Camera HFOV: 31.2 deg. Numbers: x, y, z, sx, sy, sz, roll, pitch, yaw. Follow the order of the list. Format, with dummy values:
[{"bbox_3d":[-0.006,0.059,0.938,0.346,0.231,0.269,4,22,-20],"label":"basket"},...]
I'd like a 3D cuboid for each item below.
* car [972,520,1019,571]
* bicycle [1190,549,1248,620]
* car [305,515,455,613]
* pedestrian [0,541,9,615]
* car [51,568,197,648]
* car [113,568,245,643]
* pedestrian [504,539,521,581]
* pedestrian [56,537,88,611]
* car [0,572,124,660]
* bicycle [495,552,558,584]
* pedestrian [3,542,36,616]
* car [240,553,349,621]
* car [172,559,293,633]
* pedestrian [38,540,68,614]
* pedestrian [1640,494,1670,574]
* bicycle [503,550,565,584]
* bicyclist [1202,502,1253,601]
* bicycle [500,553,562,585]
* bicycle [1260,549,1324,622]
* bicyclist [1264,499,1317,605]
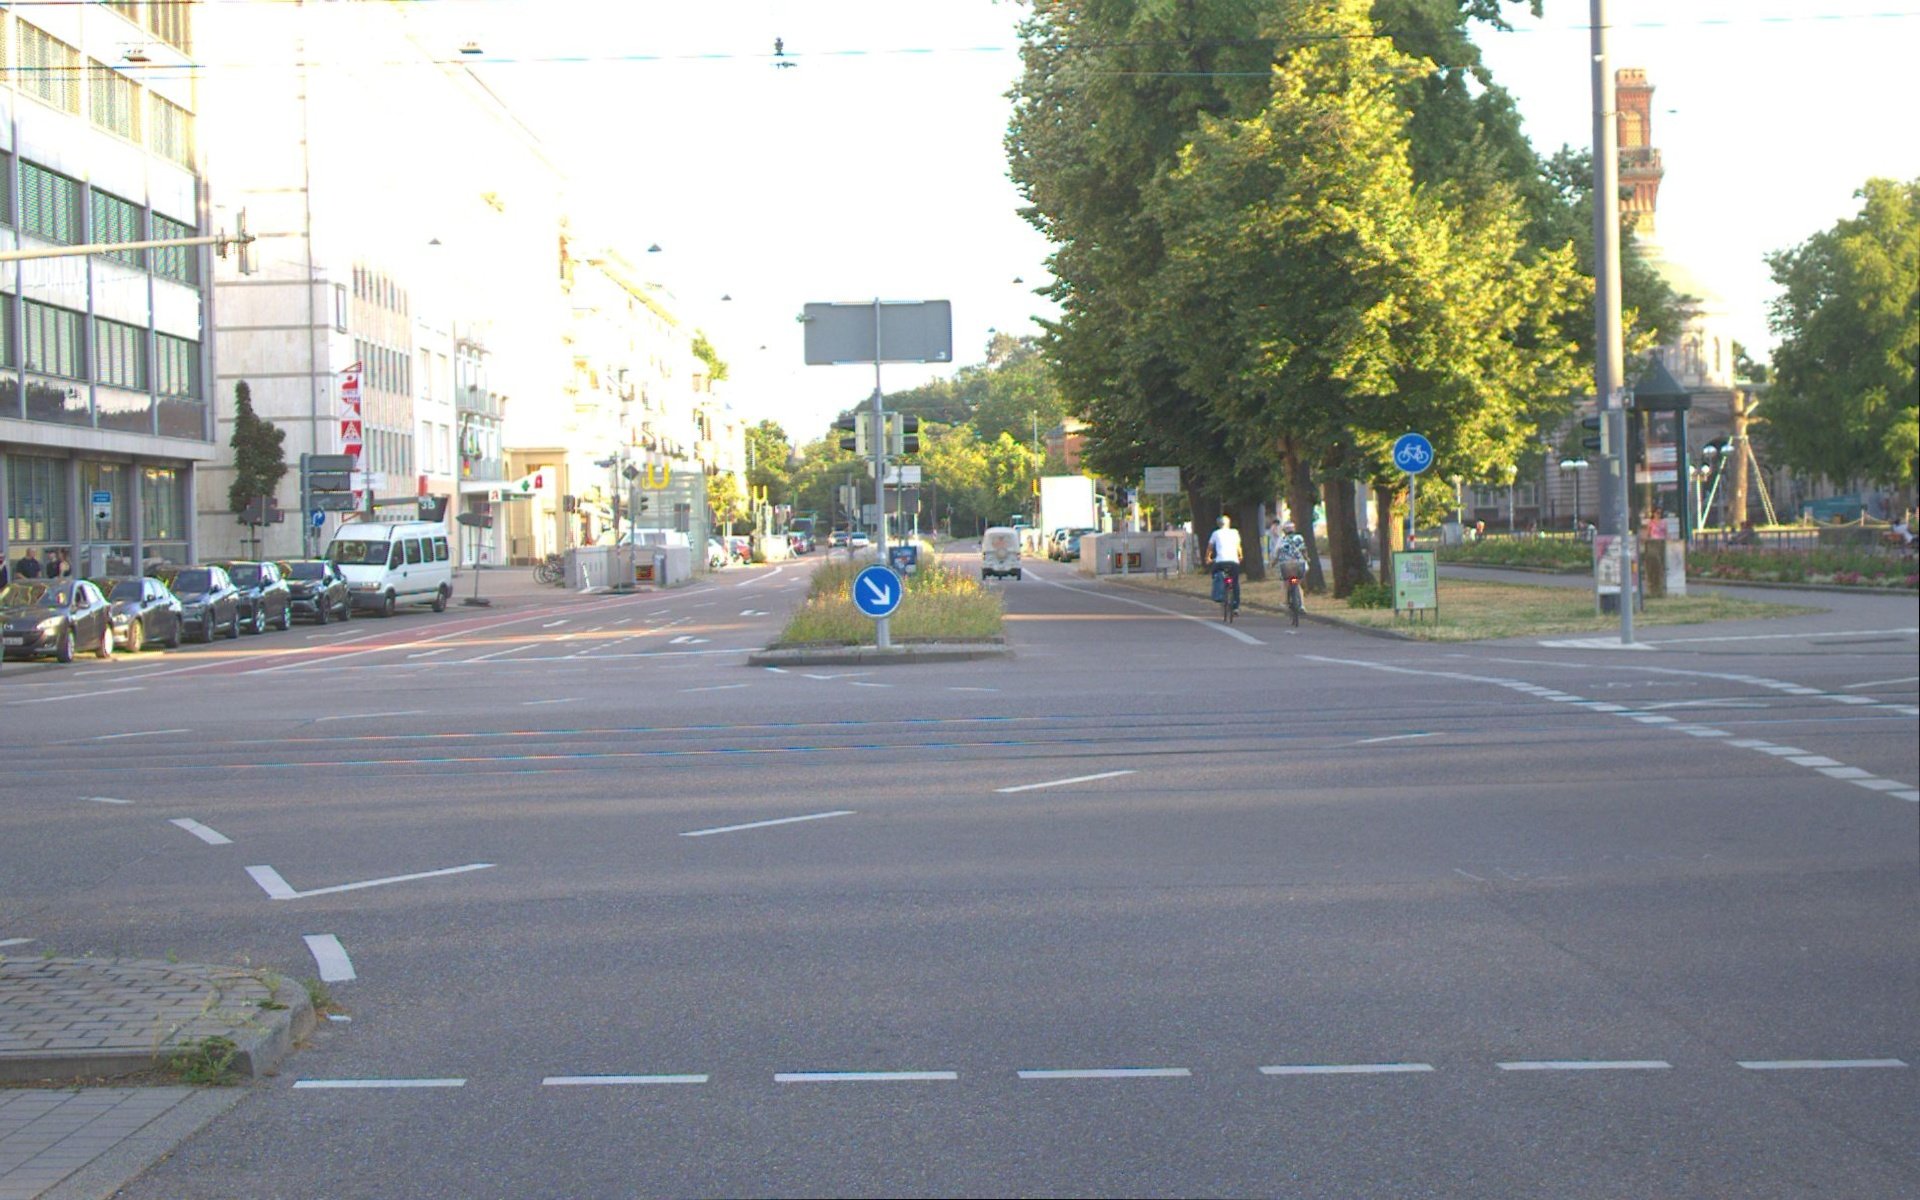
[{"bbox_3d":[1.180,-1.835,115.737,1.408,1.636,4.000,-2,1,-2],"label":"car"},{"bbox_3d":[4.406,-0.276,58.592,0.746,1.140,2.505,-2,1,-1],"label":"bicycle"},{"bbox_3d":[-15.328,-1.005,91.228,2.002,2.469,5.865,-1,1,10],"label":"car"},{"bbox_3d":[-21.952,-0.486,78.032,0.551,1.673,0.500,-2,1,-1],"label":"pedestrian"},{"bbox_3d":[-16.598,0.142,68.435,1.920,1.459,4.000,-2,1,-1],"label":"car"},{"bbox_3d":[-16.603,0.096,73.249,1.920,1.459,4.000,-2,1,-1],"label":"car"},{"bbox_3d":[-21.478,-1.915,164.987,0.680,2.007,0.545,-2,1,0],"label":"pedestrian"},{"bbox_3d":[-20.115,-0.589,77.899,0.551,1.673,0.500,-2,1,-1],"label":"pedestrian"},{"bbox_3d":[-16.507,0.271,61.904,1.920,1.459,4.103,-2,1,-1],"label":"car"},{"bbox_3d":[-15.826,-1.159,125.432,2.205,1.108,0.619,-2,1,-2],"label":"bicycle"},{"bbox_3d":[-21.361,-0.478,78.073,0.551,1.673,0.500,-2,1,-1],"label":"pedestrian"},{"bbox_3d":[-16.386,-0.337,84.778,1.920,1.563,4.000,-2,1,-1],"label":"car"},{"bbox_3d":[-16.583,-0.106,78.551,1.920,1.563,4.000,-2,1,-1],"label":"car"},{"bbox_3d":[-20.710,-0.524,78.525,0.500,1.673,0.500,-2,1,-1],"label":"pedestrian"},{"bbox_3d":[14.548,-1.386,71.942,0.460,1.651,0.567,-1,1,-1],"label":"pedestrian"},{"bbox_3d":[-15.967,-1.236,128.882,2.205,1.232,0.839,-2,1,-2],"label":"bicycle"},{"bbox_3d":[4.531,-0.822,58.303,0.746,1.658,0.873,-2,1,-1],"label":"bicyclist"},{"bbox_3d":[-15.866,-1.161,127.106,2.205,1.108,0.689,-2,1,-2],"label":"bicycle"},{"bbox_3d":[5.406,-0.252,56.106,0.746,1.140,2.505,-2,1,-1],"label":"bicycle"},{"bbox_3d":[5.389,-0.787,56.103,0.746,1.685,0.799,-2,1,-1],"label":"bicyclist"}]
